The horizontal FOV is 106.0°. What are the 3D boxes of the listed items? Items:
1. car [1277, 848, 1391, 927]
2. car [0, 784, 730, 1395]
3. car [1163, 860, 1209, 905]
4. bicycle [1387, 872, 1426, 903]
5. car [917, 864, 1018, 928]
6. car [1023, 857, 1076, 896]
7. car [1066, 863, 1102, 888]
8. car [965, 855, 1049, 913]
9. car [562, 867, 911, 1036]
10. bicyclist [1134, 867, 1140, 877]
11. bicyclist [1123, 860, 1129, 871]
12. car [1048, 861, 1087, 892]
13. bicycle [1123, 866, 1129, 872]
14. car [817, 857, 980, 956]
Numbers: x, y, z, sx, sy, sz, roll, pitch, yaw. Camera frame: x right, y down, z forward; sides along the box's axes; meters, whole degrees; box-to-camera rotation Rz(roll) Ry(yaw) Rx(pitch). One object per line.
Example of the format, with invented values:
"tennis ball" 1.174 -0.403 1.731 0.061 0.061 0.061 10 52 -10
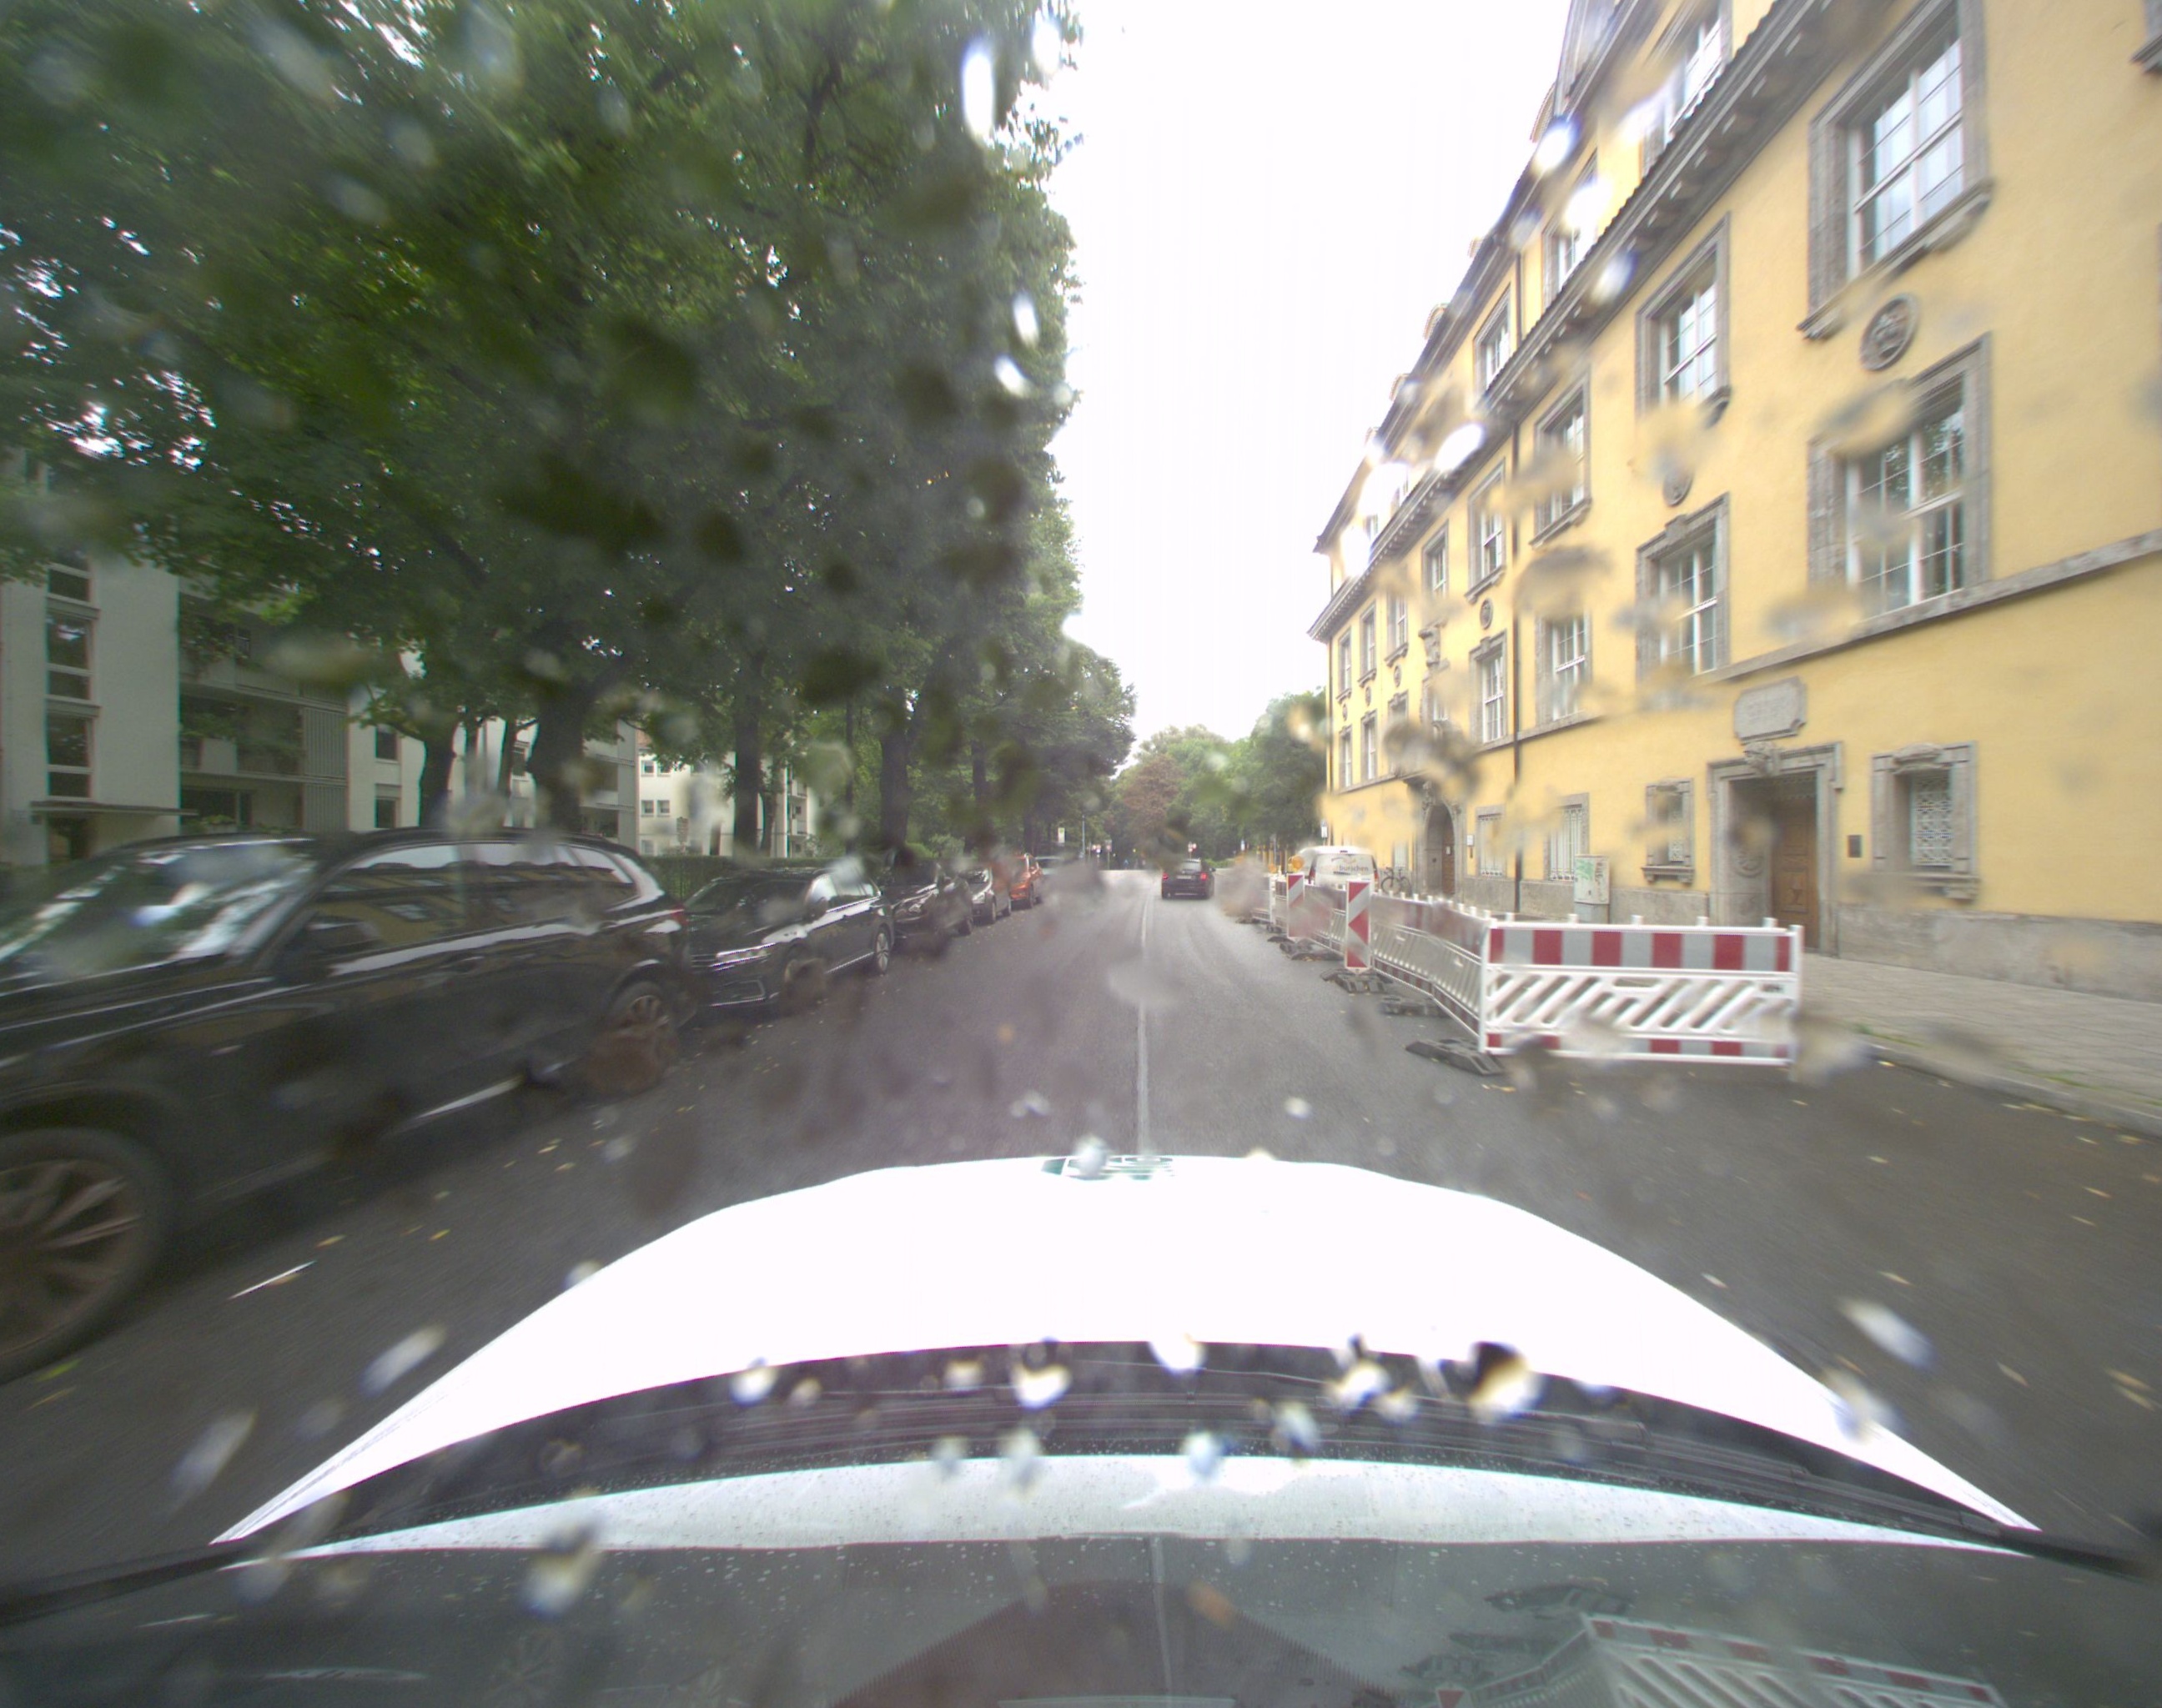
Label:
"car" 6.185 0.797 20.426 1.732 1.750 4.359 0 -1 3
"car" -4.034 0.736 4.114 1.984 1.797 4.927 -2 -1 5
"car" 3.930 1.014 30.461 1.569 1.584 4.052 0 -1 7
"bicycle" 11.232 1.147 28.180 0.677 1.006 2.059 0 -1 4
"car" -2.773 0.994 20.774 1.720 1.423 4.255 0 0 4
"car" -1.301 0.944 35.613 1.807 1.601 4.518 0 -1 4
"car" 0.215 1.193 46.223 1.569 1.343 4.051 0 -1 6
"car" -2.294 0.911 26.533 1.863 1.728 4.648 0 -1 5
"car" -3.540 0.889 9.514 1.710 1.451 4.702 0 -1 5
"bicyclist" 7.390 2.351 106.789 0.679 1.187 0.480 0 -1 -5
"bicyclist" 6.642 1.696 120.658 0.679 1.504 0.899 0 -1 -4
"car" -0.620 1.104 41.039 1.570 1.497 4.204 0 -1 4
"bicycle" 6.664 2.249 120.544 0.678 0.830 2.106 0 -1 -5
"car" -3.188 0.854 15.232 1.778 1.574 4.490 0 0 4
